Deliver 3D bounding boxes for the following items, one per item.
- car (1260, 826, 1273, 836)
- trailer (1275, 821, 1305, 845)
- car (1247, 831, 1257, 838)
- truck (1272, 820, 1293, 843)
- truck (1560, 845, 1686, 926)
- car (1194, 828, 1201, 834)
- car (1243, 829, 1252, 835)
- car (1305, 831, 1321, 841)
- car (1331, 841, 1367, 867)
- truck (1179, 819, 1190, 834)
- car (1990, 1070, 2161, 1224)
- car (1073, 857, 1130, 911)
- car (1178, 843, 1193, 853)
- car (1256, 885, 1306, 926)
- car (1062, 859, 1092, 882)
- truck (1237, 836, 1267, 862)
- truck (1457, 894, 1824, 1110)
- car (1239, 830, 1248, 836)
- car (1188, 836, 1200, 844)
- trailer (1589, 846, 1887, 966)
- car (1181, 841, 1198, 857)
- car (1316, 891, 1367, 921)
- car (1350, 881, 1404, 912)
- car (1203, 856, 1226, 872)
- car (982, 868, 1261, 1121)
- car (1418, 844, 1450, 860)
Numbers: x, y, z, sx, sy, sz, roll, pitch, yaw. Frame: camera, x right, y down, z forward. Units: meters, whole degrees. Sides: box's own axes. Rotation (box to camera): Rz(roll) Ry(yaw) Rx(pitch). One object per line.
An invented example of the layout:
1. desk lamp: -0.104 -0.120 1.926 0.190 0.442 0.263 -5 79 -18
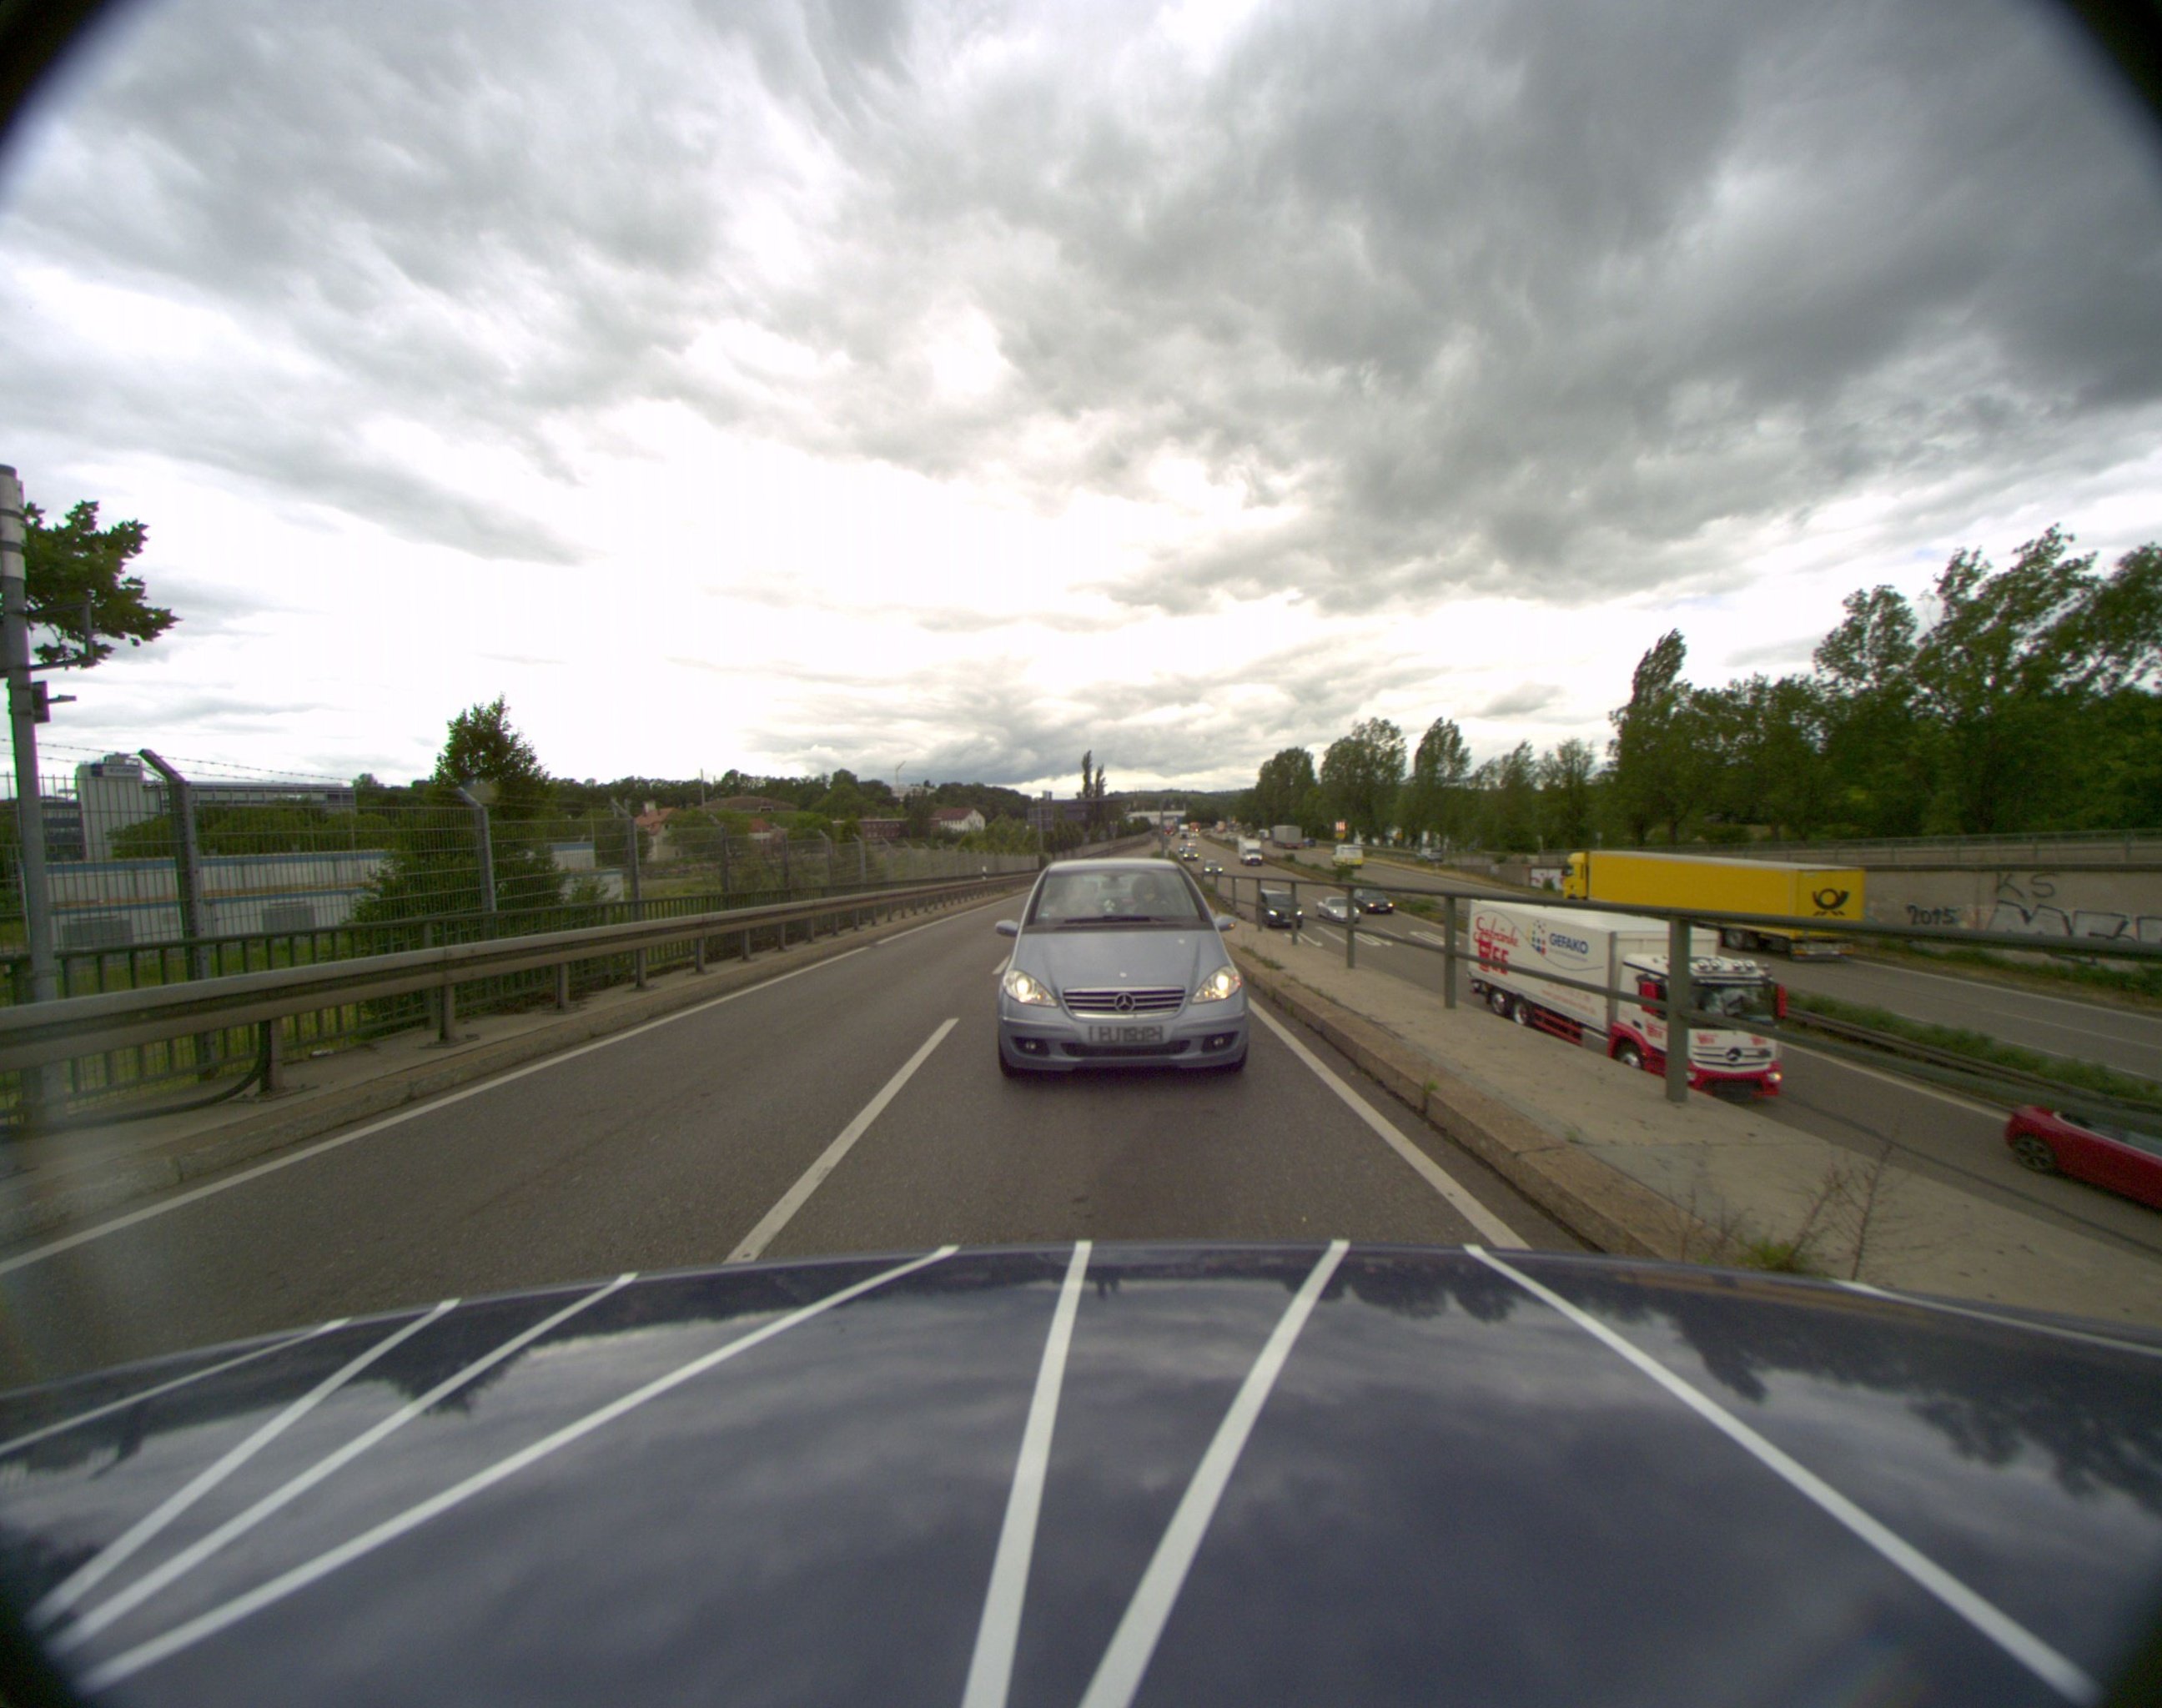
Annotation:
1. car: 48.652 -6.030 199.292 1.998 2.635 5.179 2 3 2
2. trailer: 38.515 -3.984 140.459 2.793 4.117 13.759 -1 3 4
3. car: 49.358 -5.747 219.665 1.886 1.807 4.560 2 3 2
4. truck: 38.998 -4.386 147.154 2.793 4.117 5.934 -1 3 4
5. truck: 31.300 1.691 44.258 3.248 4.159 5.802 0 3 3
6. car: 38.131 -7.587 249.304 1.854 1.562 4.436 -1 4 2
7. car: 52.170 -6.826 238.809 1.886 1.807 4.560 2 3 2
8. car: 45.890 -3.585 150.472 1.998 1.890 4.583 2 3 5
9. car: 30.995 -0.050 88.179 1.998 2.614 6.711 1 3 3
10. truck: 30.411 -8.084 223.302 3.009 4.087 5.873 0 3 6
11. car: 17.254 4.781 11.582 1.834 1.570 4.181 -2 3 2
12. car: 0.699 1.001 26.851 1.830 1.701 4.001 -2 -1 1
13. car: 17.480 -1.068 126.968 1.998 1.524 3.998 0 3 1
14. car: 11.488 2.915 43.923 1.998 1.830 4.423 -1 3 3
15. car: -0.253 1.250 58.587 1.800 1.643 4.153 -2 -1 6
16. truck: 21.404 -0.691 95.635 2.239 2.993 7.228 -1 3 1
17. truck: 14.110 3.368 20.820 2.889 3.506 9.868 1 3 2
18. car: 39.570 -5.075 185.268 1.682 1.412 3.999 0 3 4
19. car: 21.760 -2.741 146.618 1.769 1.520 3.334 0 3 1
20. trailer: 30.934 2.028 37.375 3.248 4.239 13.675 0 3 3
21. car: 15.065 -0.676 105.728 1.998 2.003 3.999 1 3 3
22. car: 15.539 3.078 45.542 1.789 1.294 4.151 0 3 2
23. car: 19.115 2.722 49.287 1.863 1.457 4.423 -2 3 2
24. car: 14.098 1.006 80.451 1.828 1.443 4.125 0 3 1
25. car: 0.287 0.925 6.788 1.743 1.534 3.993 -1 0 1
26. car: 41.699 -0.241 89.798 1.897 1.643 4.377 -3 2 3
